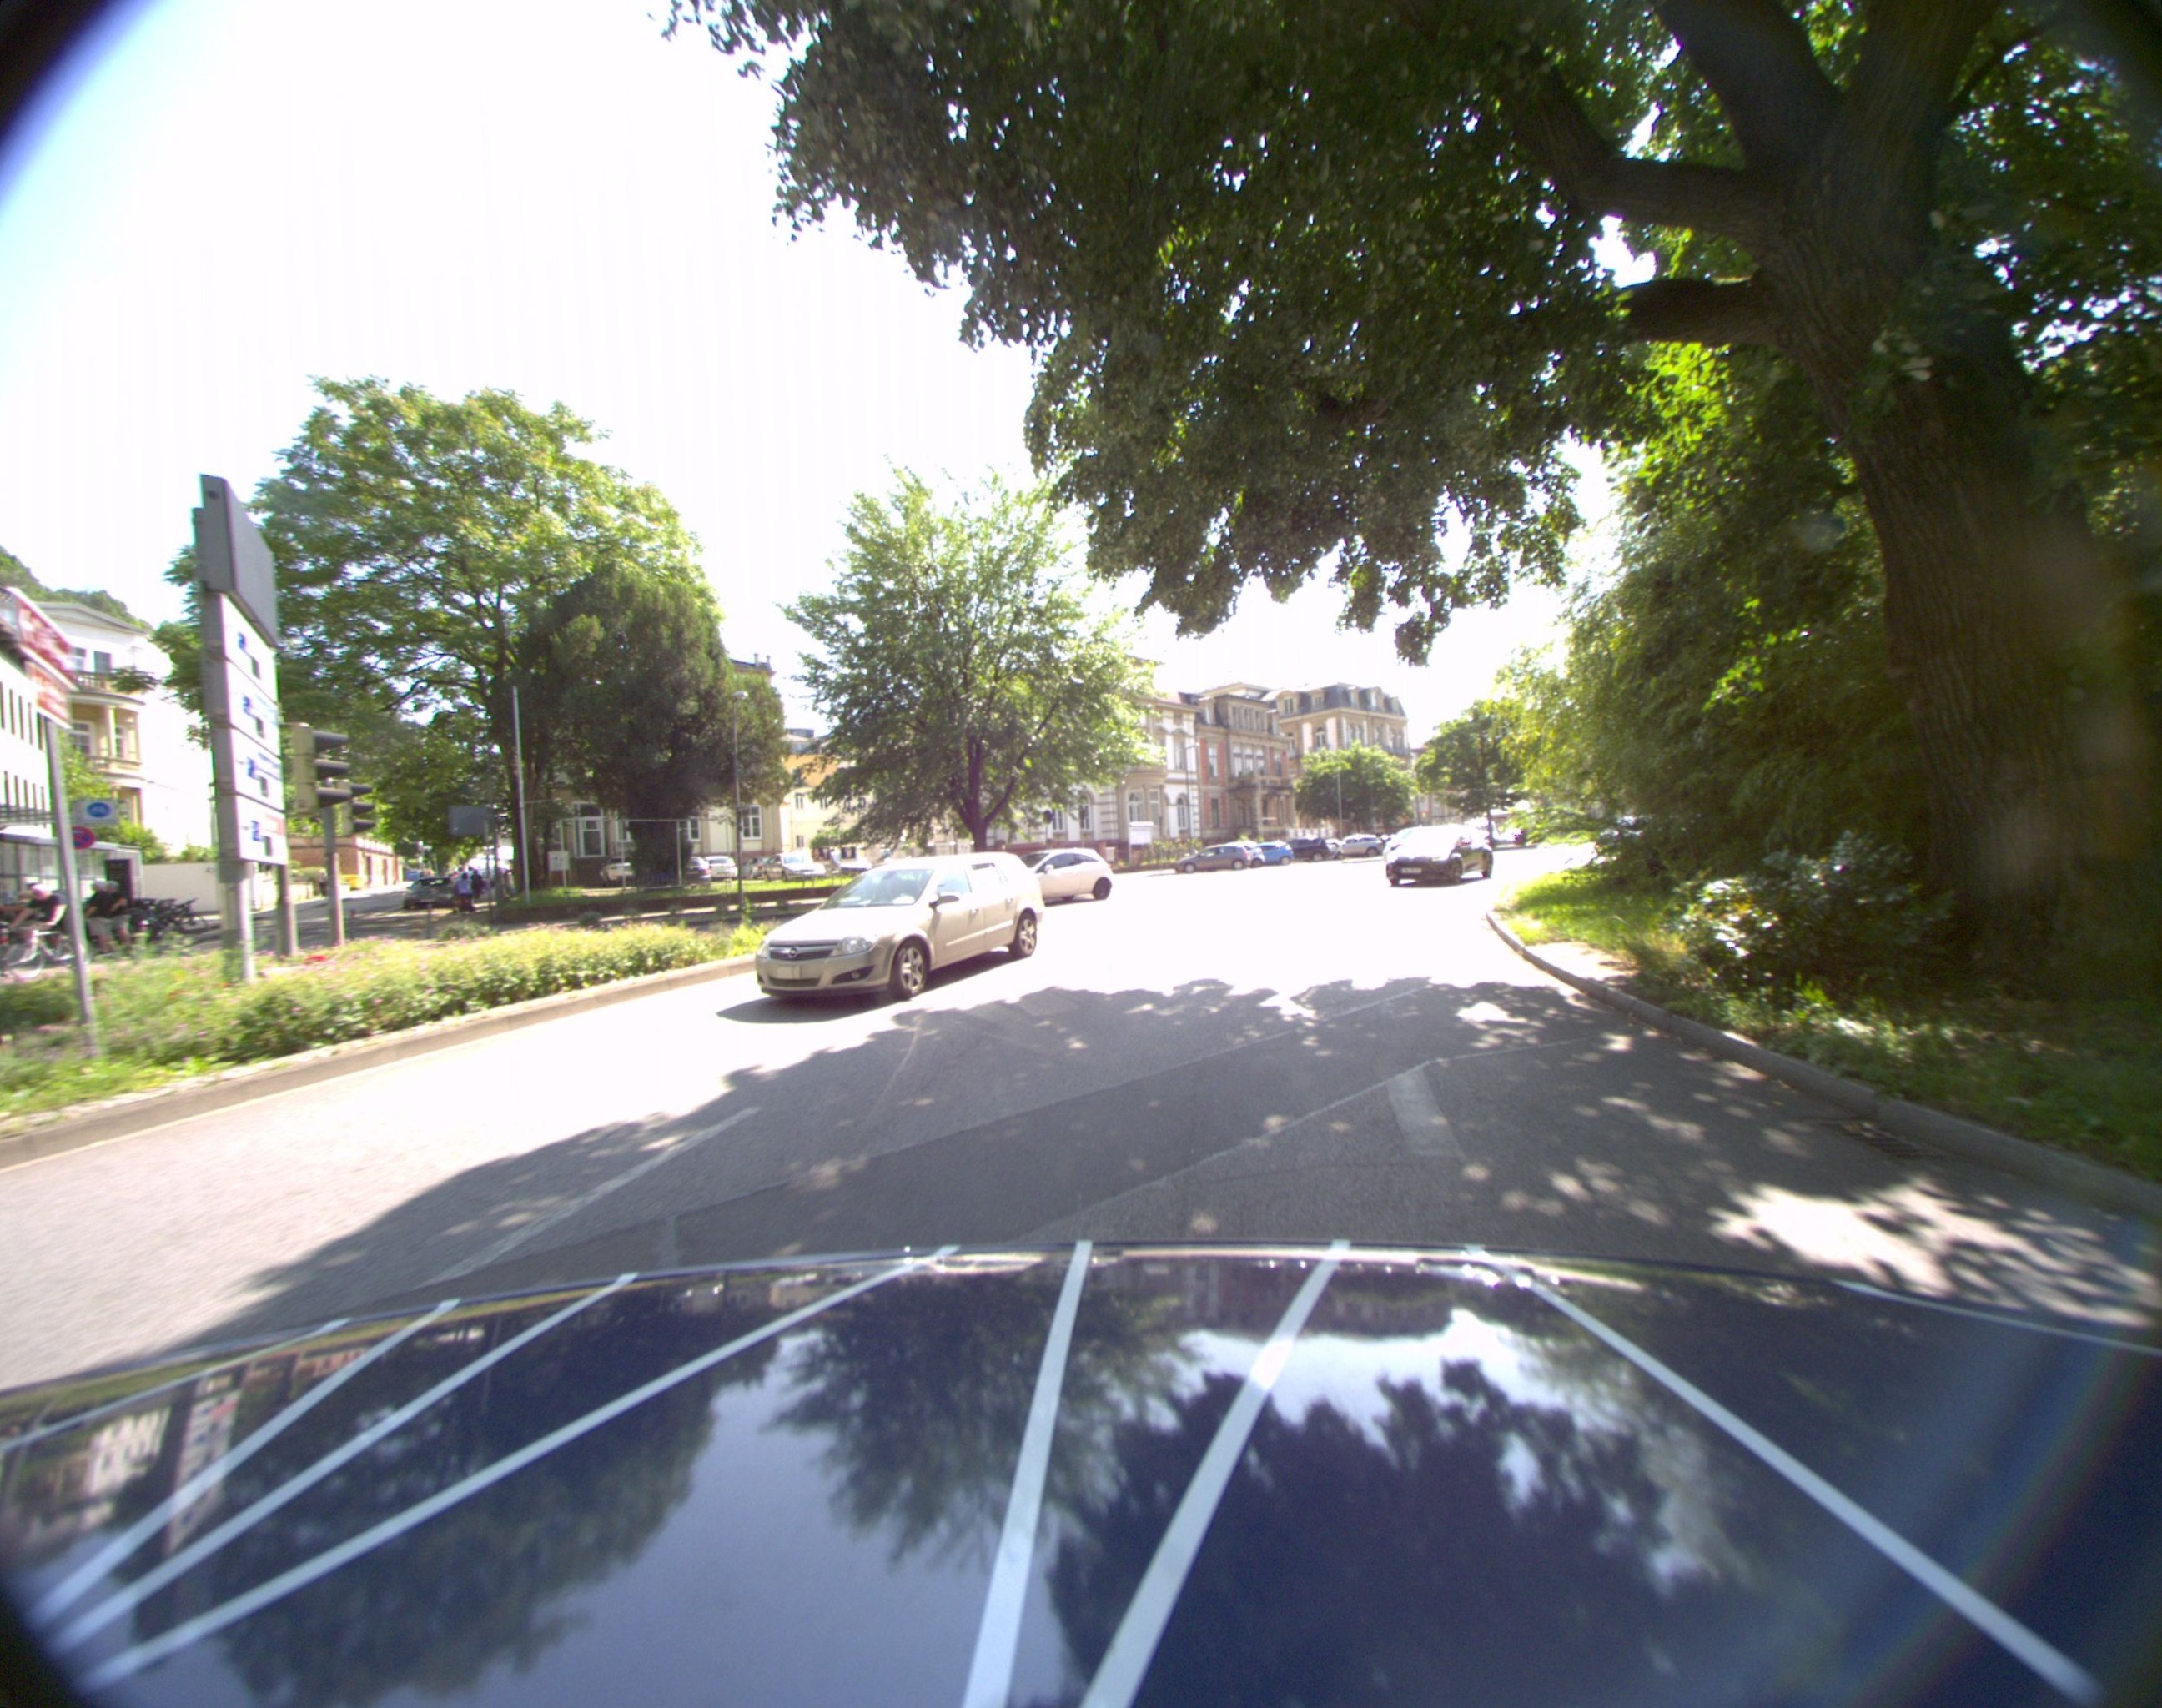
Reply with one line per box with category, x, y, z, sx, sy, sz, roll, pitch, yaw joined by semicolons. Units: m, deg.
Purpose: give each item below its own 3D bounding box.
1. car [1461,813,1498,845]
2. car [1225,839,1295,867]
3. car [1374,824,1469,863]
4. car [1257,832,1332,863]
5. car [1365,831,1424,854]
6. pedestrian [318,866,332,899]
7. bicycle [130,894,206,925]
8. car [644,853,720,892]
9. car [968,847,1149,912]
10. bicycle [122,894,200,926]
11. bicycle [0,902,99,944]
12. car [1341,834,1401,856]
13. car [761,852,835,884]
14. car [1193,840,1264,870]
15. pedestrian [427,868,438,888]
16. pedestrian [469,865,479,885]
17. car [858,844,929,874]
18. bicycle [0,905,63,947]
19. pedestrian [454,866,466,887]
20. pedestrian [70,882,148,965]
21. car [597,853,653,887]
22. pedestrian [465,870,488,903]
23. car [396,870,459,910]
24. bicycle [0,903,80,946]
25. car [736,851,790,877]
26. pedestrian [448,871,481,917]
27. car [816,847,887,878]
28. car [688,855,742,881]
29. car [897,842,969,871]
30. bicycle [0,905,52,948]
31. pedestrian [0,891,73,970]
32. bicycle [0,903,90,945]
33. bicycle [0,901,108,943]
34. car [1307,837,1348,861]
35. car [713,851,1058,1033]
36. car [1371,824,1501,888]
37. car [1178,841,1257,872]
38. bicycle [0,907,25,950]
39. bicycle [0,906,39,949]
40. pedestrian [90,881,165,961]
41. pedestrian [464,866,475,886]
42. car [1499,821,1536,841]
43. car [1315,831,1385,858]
car;35.544;-2.261;67.632;1.995;2.588;5.328;-3;0;37
car;10.867;-0.058;46.274;3.809;1.434;1.713;-4;0;0
car;15.010;-0.480;33.412;4.287;1.504;1.788;-4;2;-34
car;13.731;-0.408;49.002;4.271;1.686;1.713;-4;0;0
car;24.541;-0.885;59.577;3.873;1.566;1.751;-4;0;7
pedestrian;-46.758;1.740;46.986;0.494;2.002;0.578;-4;2;-42
bicycle;-36.883;2.228;30.735;1.838;1.079;0.537;-4;2;-35
car;-17.244;0.795;32.786;1.881;1.467;4.145;-4;1;-42
car;-0.531;0.649;21.138;4.760;1.429;1.995;-3;1;-41
bicycle;-36.568;2.220;30.220;1.838;1.079;0.537;-4;2;-35
bicycle;-31.177;2.074;22.871;1.838;1.079;0.537;-4;2;-35
car;21.688;-0.646;56.940;3.816;1.409;1.606;-4;0;7
car;-13.216;0.674;35.375;1.824;1.328;4.469;-4;1;-39
car;8.516;0.042;44.105;3.808;1.502;1.714;-4;0;3
pedestrian;-65.361;2.426;76.580;0.724;2.002;0.859;-4;1;-38
pedestrian;-63.551;2.208;79.605;0.724;2.002;0.859;-4;1;-38
car;-9.507;0.271;38.309;1.864;1.328;4.043;-4;1;-39
bicycle;-30.150;2.044;21.272;1.838;1.079;0.537;-4;2;-35
pedestrian;-58.355;2.115;71.385;0.724;2.002;0.859;-4;1;-38
pedestrian;-23.007;1.618;18.013;0.830;1.843;0.772;-4;1;-31
car;-24.110;0.867;40.111;1.824;1.594;4.310;-4;1;-39
pedestrian;-29.067;1.569;36.540;0.771;1.537;0.665;-4;2;-35
car;-30.195;1.622;35.202;1.837;1.637;4.123;-3;1;-36
bicycle;-30.417;2.049;21.843;1.838;1.079;0.537;-4;2;-35
car;-18.904;0.601;45.084;1.824;1.411;4.052;-4;1;-39
pedestrian;-22.147;1.424;27.325;0.742;1.572;1.120;-5;2;-35
car;-11.253;0.429;37.026;1.824;1.328;4.087;-4;1;-39
car;-21.071;0.797;43.704;1.824;1.328;4.079;-4;1;-39
car;-7.805;0.169;39.866;1.995;1.328;4.043;-4;1;-39
bicycle;-29.802;2.034;20.788;1.838;1.079;0.537;-4;2;-35
pedestrian;-23.642;1.704;17.121;0.830;1.653;0.772;-4;1;-32
bicycle;-30.816;2.062;22.393;1.838;1.079;0.537;-4;2;-35
bicycle;-31.565;2.086;23.390;1.838;1.079;0.537;-4;2;-35
car;16.767;-0.363;51.689;2.287;1.474;1.201;-4;0;-3
car;-2.051;0.848;9.519;1.716;1.492;4.496;-2;2;23
car;9.630;0.001;20.450;4.288;1.443;1.787;-4;2;-45
car;7.449;0.128;41.871;4.102;1.453;1.828;-4;0;7
bicycle;-29.156;2.015;19.770;1.838;1.079;0.537;-4;2;-35
bicycle;-29.439;2.023;20.255;1.838;1.079;0.537;-4;2;-35
pedestrian;-23.479;1.624;18.735;0.830;1.843;0.772;-4;1;-29
pedestrian;-61.116;2.188;75.906;0.724;2.002;0.859;-4;1;-38
car;40.001;-2.091;69.530;1.817;1.617;4.889;-3;0;43
car;19.191;-0.640;54.244;4.312;1.620;1.714;-4;0;3
